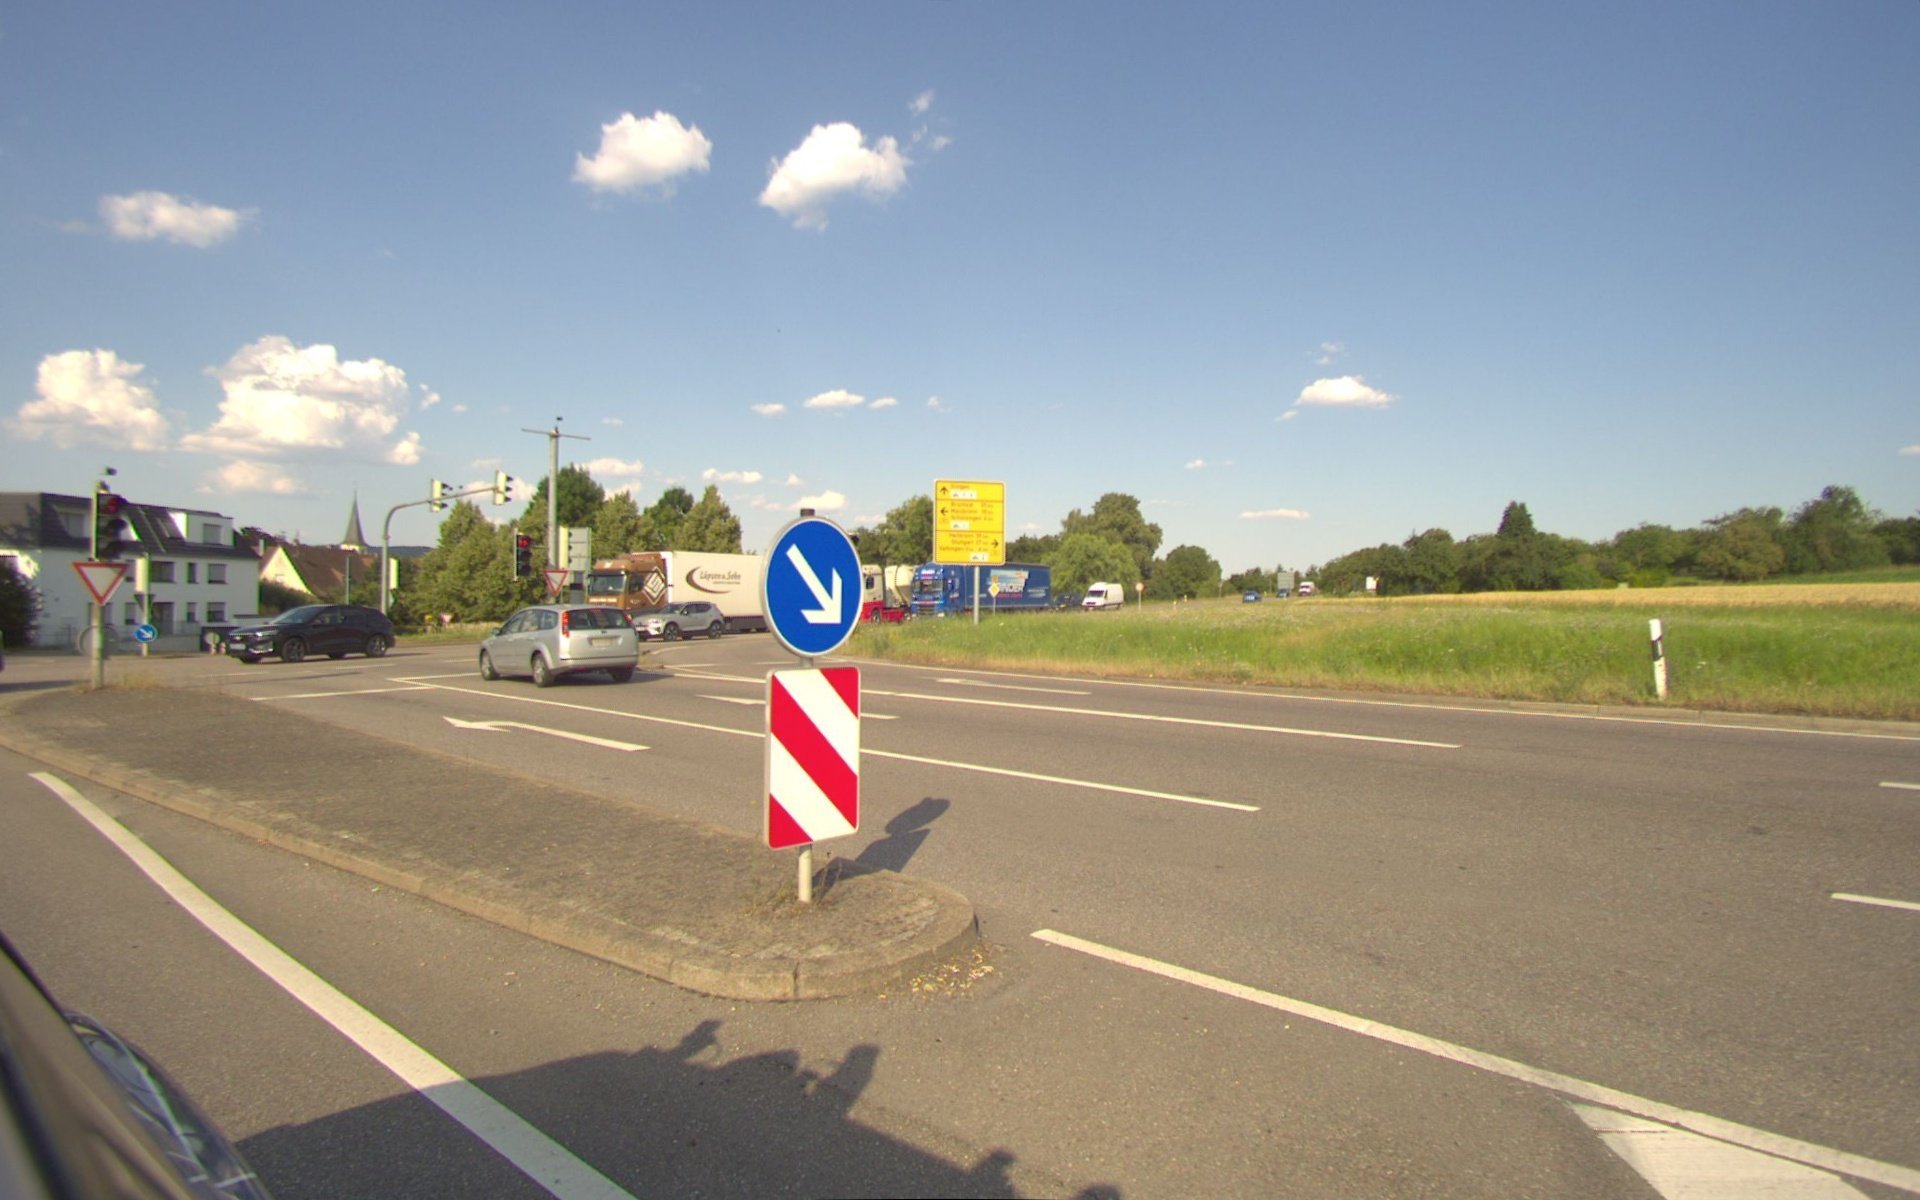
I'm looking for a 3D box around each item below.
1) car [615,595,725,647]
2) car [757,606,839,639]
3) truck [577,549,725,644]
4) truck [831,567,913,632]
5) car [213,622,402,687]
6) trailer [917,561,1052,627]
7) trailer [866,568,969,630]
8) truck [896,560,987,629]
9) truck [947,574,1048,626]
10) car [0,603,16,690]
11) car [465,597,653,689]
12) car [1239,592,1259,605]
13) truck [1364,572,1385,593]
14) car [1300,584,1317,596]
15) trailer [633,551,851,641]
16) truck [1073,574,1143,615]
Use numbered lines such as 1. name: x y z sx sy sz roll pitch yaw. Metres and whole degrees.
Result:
1. car: -12.019 0.821 42.173 1.900 1.962 4.330 -2 0 28
2. car: -7.998 1.101 50.331 1.991 1.497 3.962 -2 0 28
3. truck: -14.264 -0.144 47.247 2.529 4.074 6.596 -2 -1 29
4. truck: -5.350 -0.037 62.622 2.253 3.834 5.631 -2 -1 28
5. car: -18.831 1.534 29.464 1.762 1.625 4.519 -2 0 19
6. trailer: 2.039 -0.383 69.646 3.404 4.035 13.617 -2 -1 28
7. trailer: -2.639 -0.072 67.671 2.256 3.806 9.433 -3 -1 28
8. truck: -1.078 -0.326 63.732 3.361 4.035 5.547 -2 -1 28
9. truck: 3.277 -0.069 81.434 2.519 3.802 12.771 -2 -1 29
10. car: -18.459 0.878 17.150 1.759 1.641 4.482 -2 0 -16
11. car: -7.831 0.860 19.554 1.794 1.540 4.356 -1 -2 -45
12. car: 34.312 -0.144 120.128 1.754 1.512 3.968 -1 -1 24
13. truck: 96.114 -4.050 234.537 3.436 4.531 9.396 -2 -1 28
14. car: 63.958 -1.805 185.516 1.994 2.029 3.956 -2 -1 32
15. trailer: -10.918 -0.167 53.448 2.529 4.098 14.195 -2 -1 29
16. truck: 14.988 -0.533 101.165 2.519 3.802 12.771 -2 -1 29
